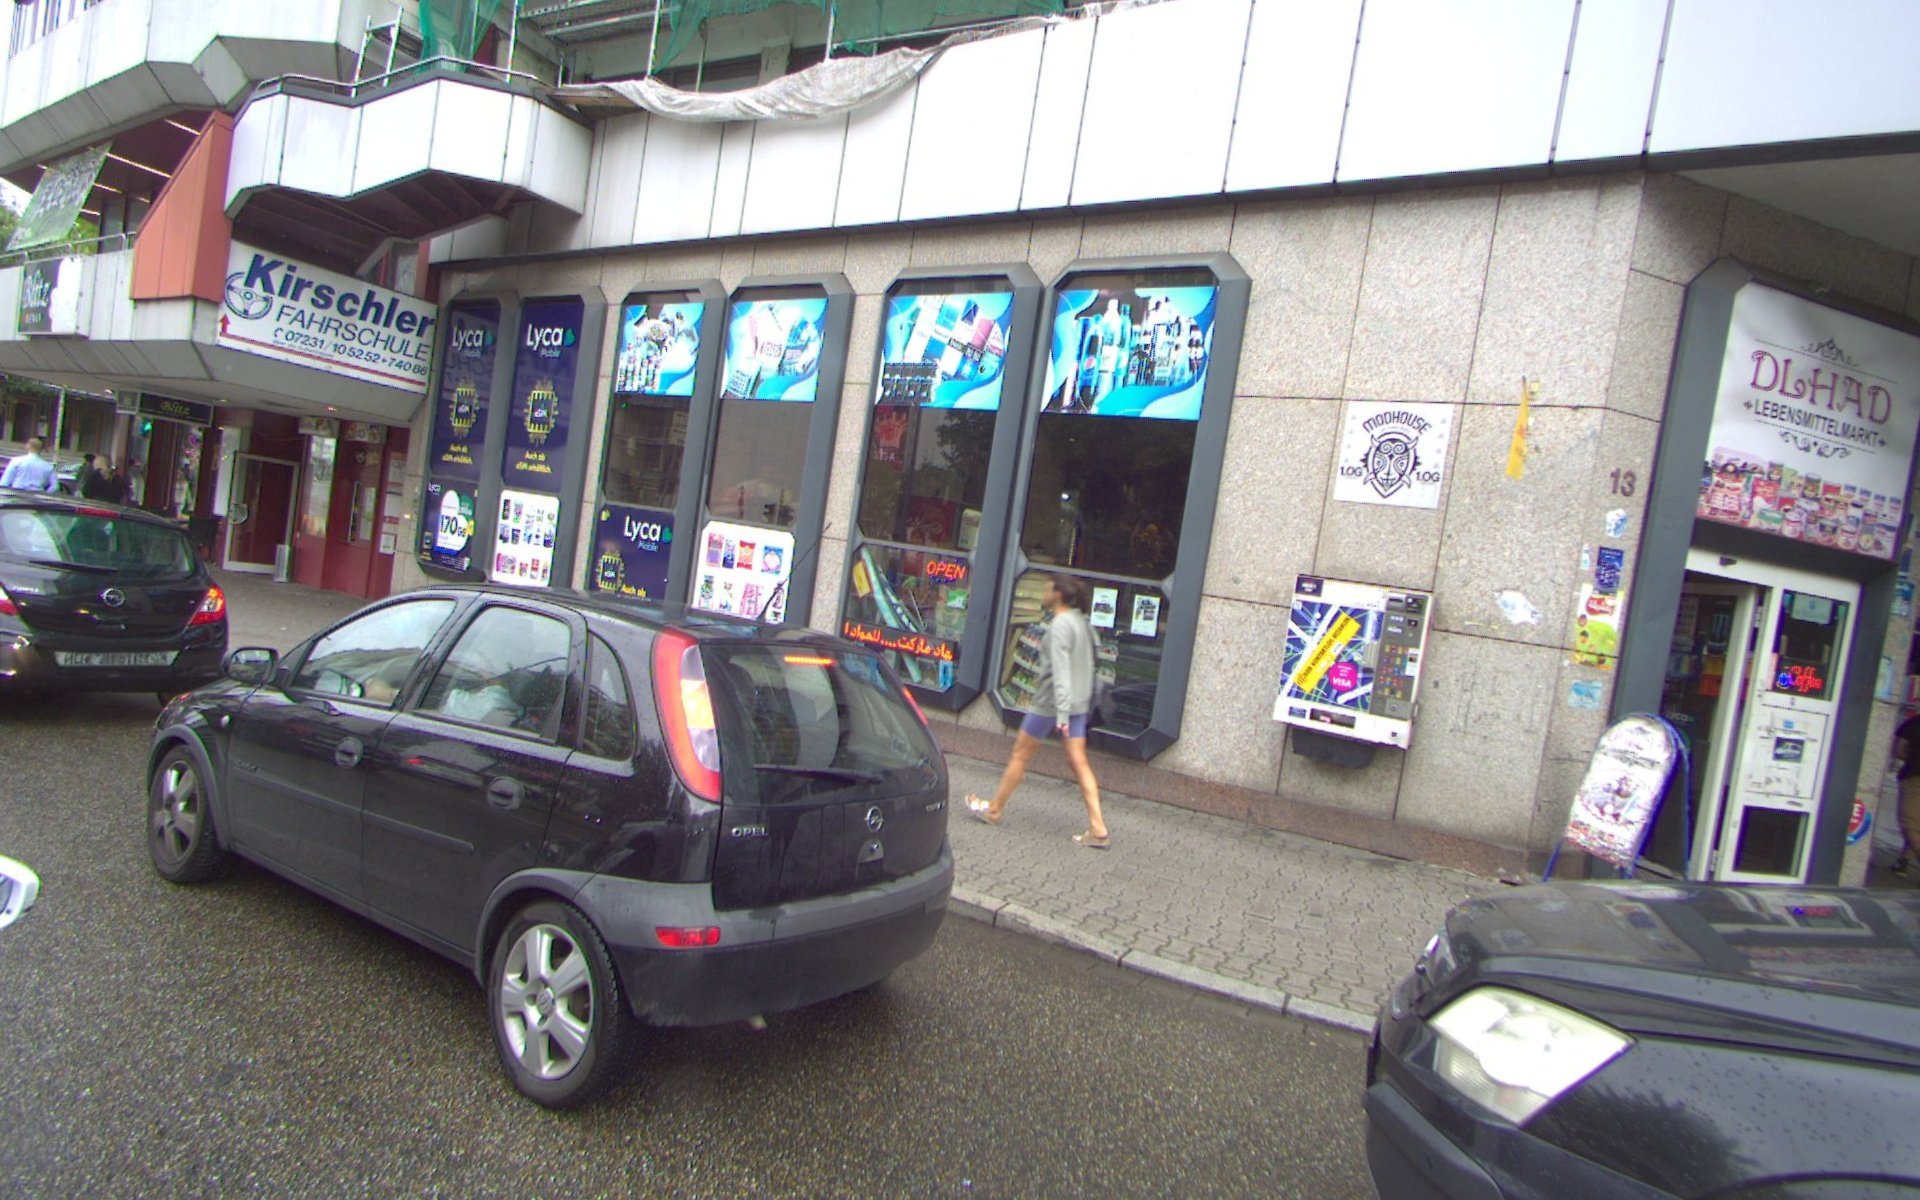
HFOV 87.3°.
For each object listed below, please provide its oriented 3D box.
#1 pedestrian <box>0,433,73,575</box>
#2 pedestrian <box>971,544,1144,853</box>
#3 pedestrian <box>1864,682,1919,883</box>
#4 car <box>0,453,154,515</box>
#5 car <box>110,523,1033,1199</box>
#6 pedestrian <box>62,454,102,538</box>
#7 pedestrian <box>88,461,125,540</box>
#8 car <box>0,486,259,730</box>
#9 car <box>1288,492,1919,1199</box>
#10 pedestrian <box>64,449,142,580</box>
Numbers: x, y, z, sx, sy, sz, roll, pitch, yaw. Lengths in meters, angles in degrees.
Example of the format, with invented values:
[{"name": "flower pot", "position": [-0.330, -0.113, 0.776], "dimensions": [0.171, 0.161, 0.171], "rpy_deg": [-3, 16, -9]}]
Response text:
[{"name": "pedestrian", "position": [-13.744, -1.397, 14.777], "dimensions": [0.629, 1.957, 0.737], "rpy_deg": [6, -1, 31]}, {"name": "pedestrian", "position": [0.643, 0.593, 6.589], "dimensions": [0.760, 1.841, 0.741], "rpy_deg": [6, 4, 30]}, {"name": "pedestrian", "position": [9.391, 1.774, 9.746], "dimensions": [0.763, 1.841, 0.739], "rpy_deg": [7, 4, 43]}, {"name": "car", "position": [-28.188, -3.648, 31.909], "dimensions": [1.808, 1.226, 3.690], "rpy_deg": [5, -3, 36]}, {"name": "car", "position": [-1.723, 0.654, 4.113], "dimensions": [3.563, 1.446, 1.609], "rpy_deg": [8, -1, 33]}, {"name": "pedestrian", "position": [-18.649, -2.201, 21.362], "dimensions": [0.443, 1.704, 0.426], "rpy_deg": [6, 1, 30]}, {"name": "pedestrian", "position": [-18.637, -2.178, 21.965], "dimensions": [0.496, 1.660, 0.396], "rpy_deg": [6, 1, 32]}, {"name": "car", "position": [-7.115, -0.112, 7.377], "dimensions": [3.776, 1.446, 1.620], "rpy_deg": [8, -1, 29]}, {"name": "car", "position": [2.790, 1.014, 1.424], "dimensions": [4.094, 1.786, 1.763], "rpy_deg": [8, -1, 32]}, {"name": "pedestrian", "position": [-13.339, -1.314, 15.657], "dimensions": [0.629, 1.961, 0.736], "rpy_deg": [6, 4, 31]}]
